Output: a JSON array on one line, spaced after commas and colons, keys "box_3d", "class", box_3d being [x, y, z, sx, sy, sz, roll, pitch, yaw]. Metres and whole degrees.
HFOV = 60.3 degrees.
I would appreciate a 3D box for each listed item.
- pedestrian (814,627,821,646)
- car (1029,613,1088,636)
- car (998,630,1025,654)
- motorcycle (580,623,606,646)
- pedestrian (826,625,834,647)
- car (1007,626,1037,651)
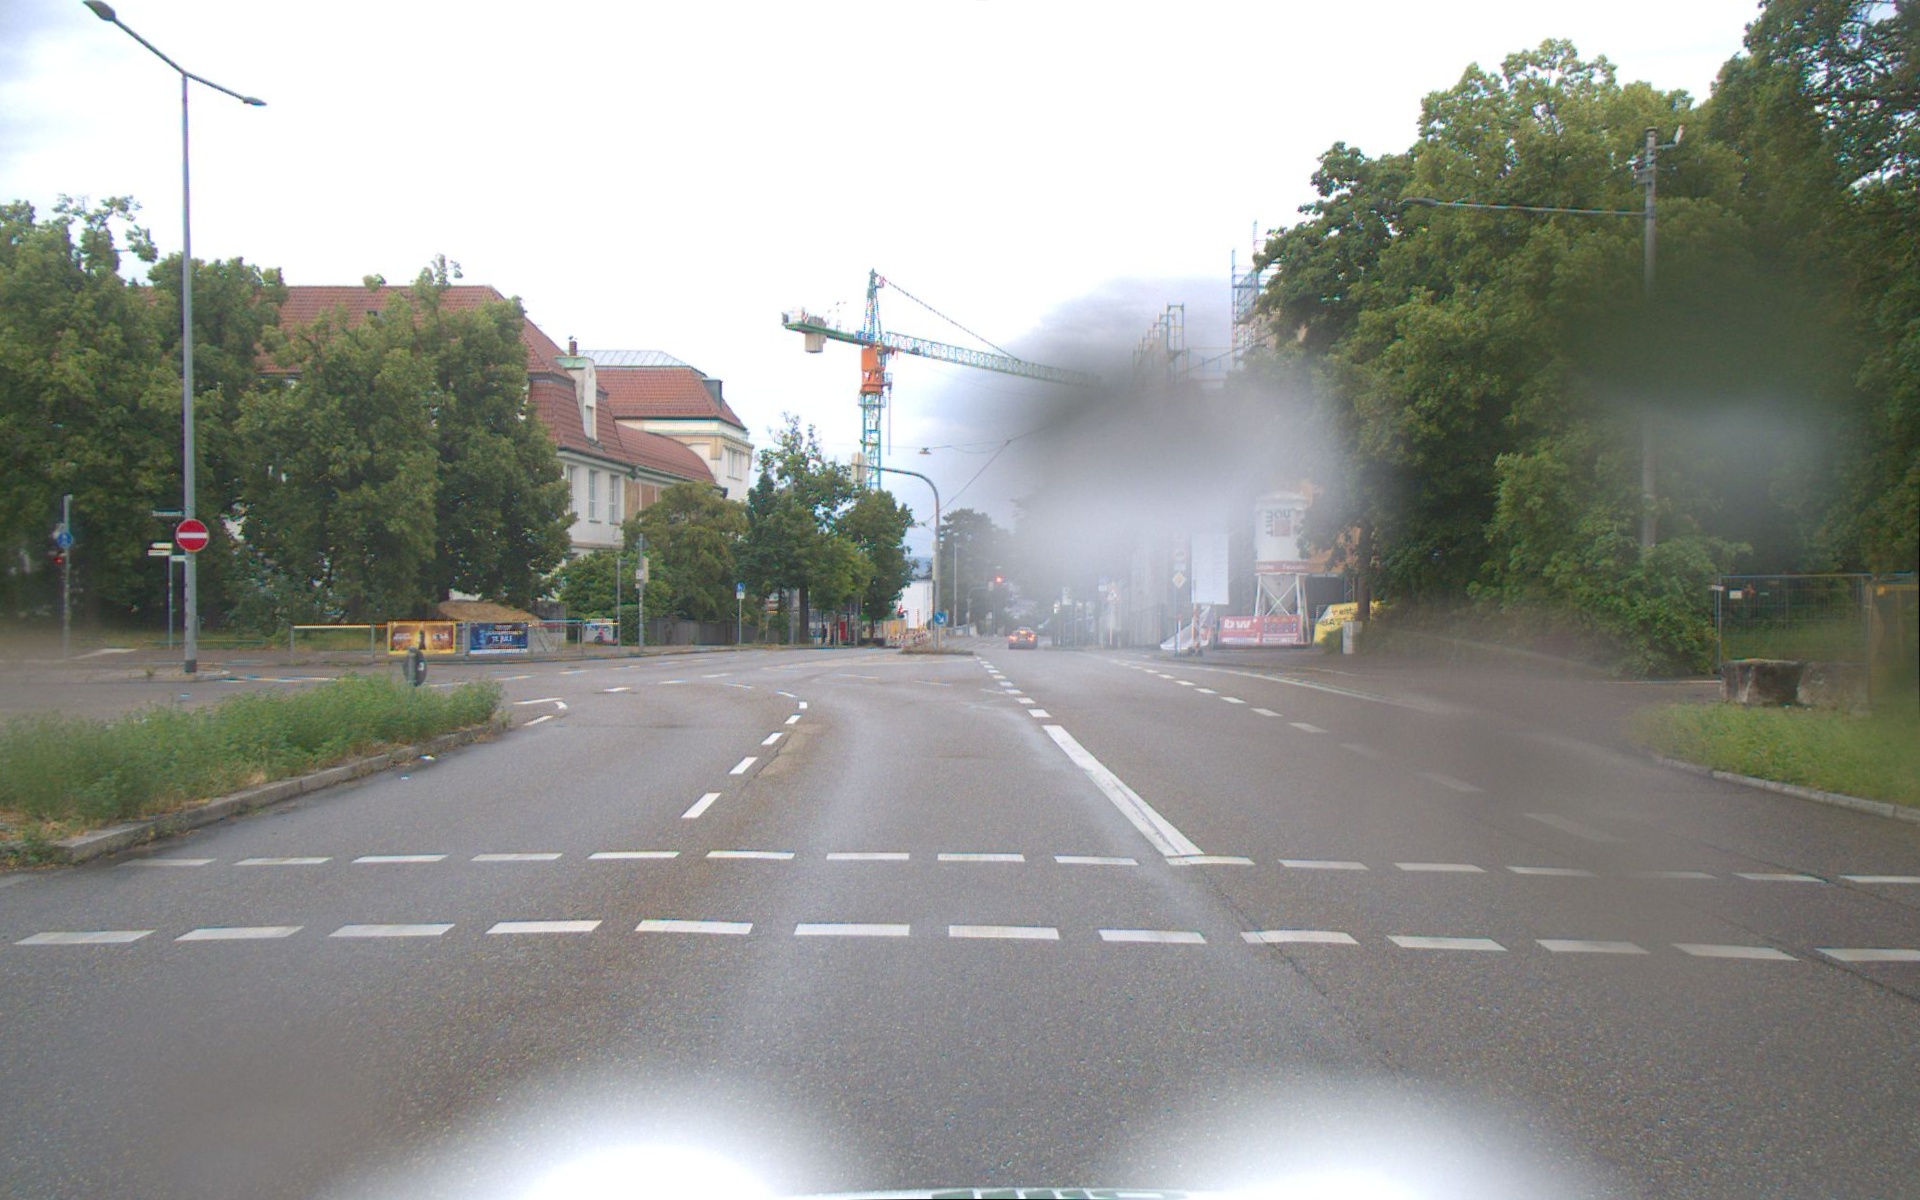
[{"box_3d": [-10.970, 2.795, 127.069, 0.465, 1.421, 0.411, -1, 0, -1], "class": "pedestrian"}, {"box_3d": [11.054, 2.784, 185.552, 6.114, 2.445, 2.824, 1, 0, -35], "class": "car"}, {"box_3d": [4.051, 3.312, 130.962, 1.953, 1.780, 3.999, -1, 0, -1], "class": "car"}, {"box_3d": [-14.352, 1.346, 64.693, 0.832, 0.893, 0.877, 1, 0, -1], "class": "motorcycle"}, {"box_3d": [-9.971, 2.738, 127.109, 0.483, 1.674, 0.534, 1, -1, 4], "class": "pedestrian"}, {"box_3d": [4.663, 2.866, 124.812, 1.953, 1.780, 3.999, -1, 0, -1], "class": "car"}]
